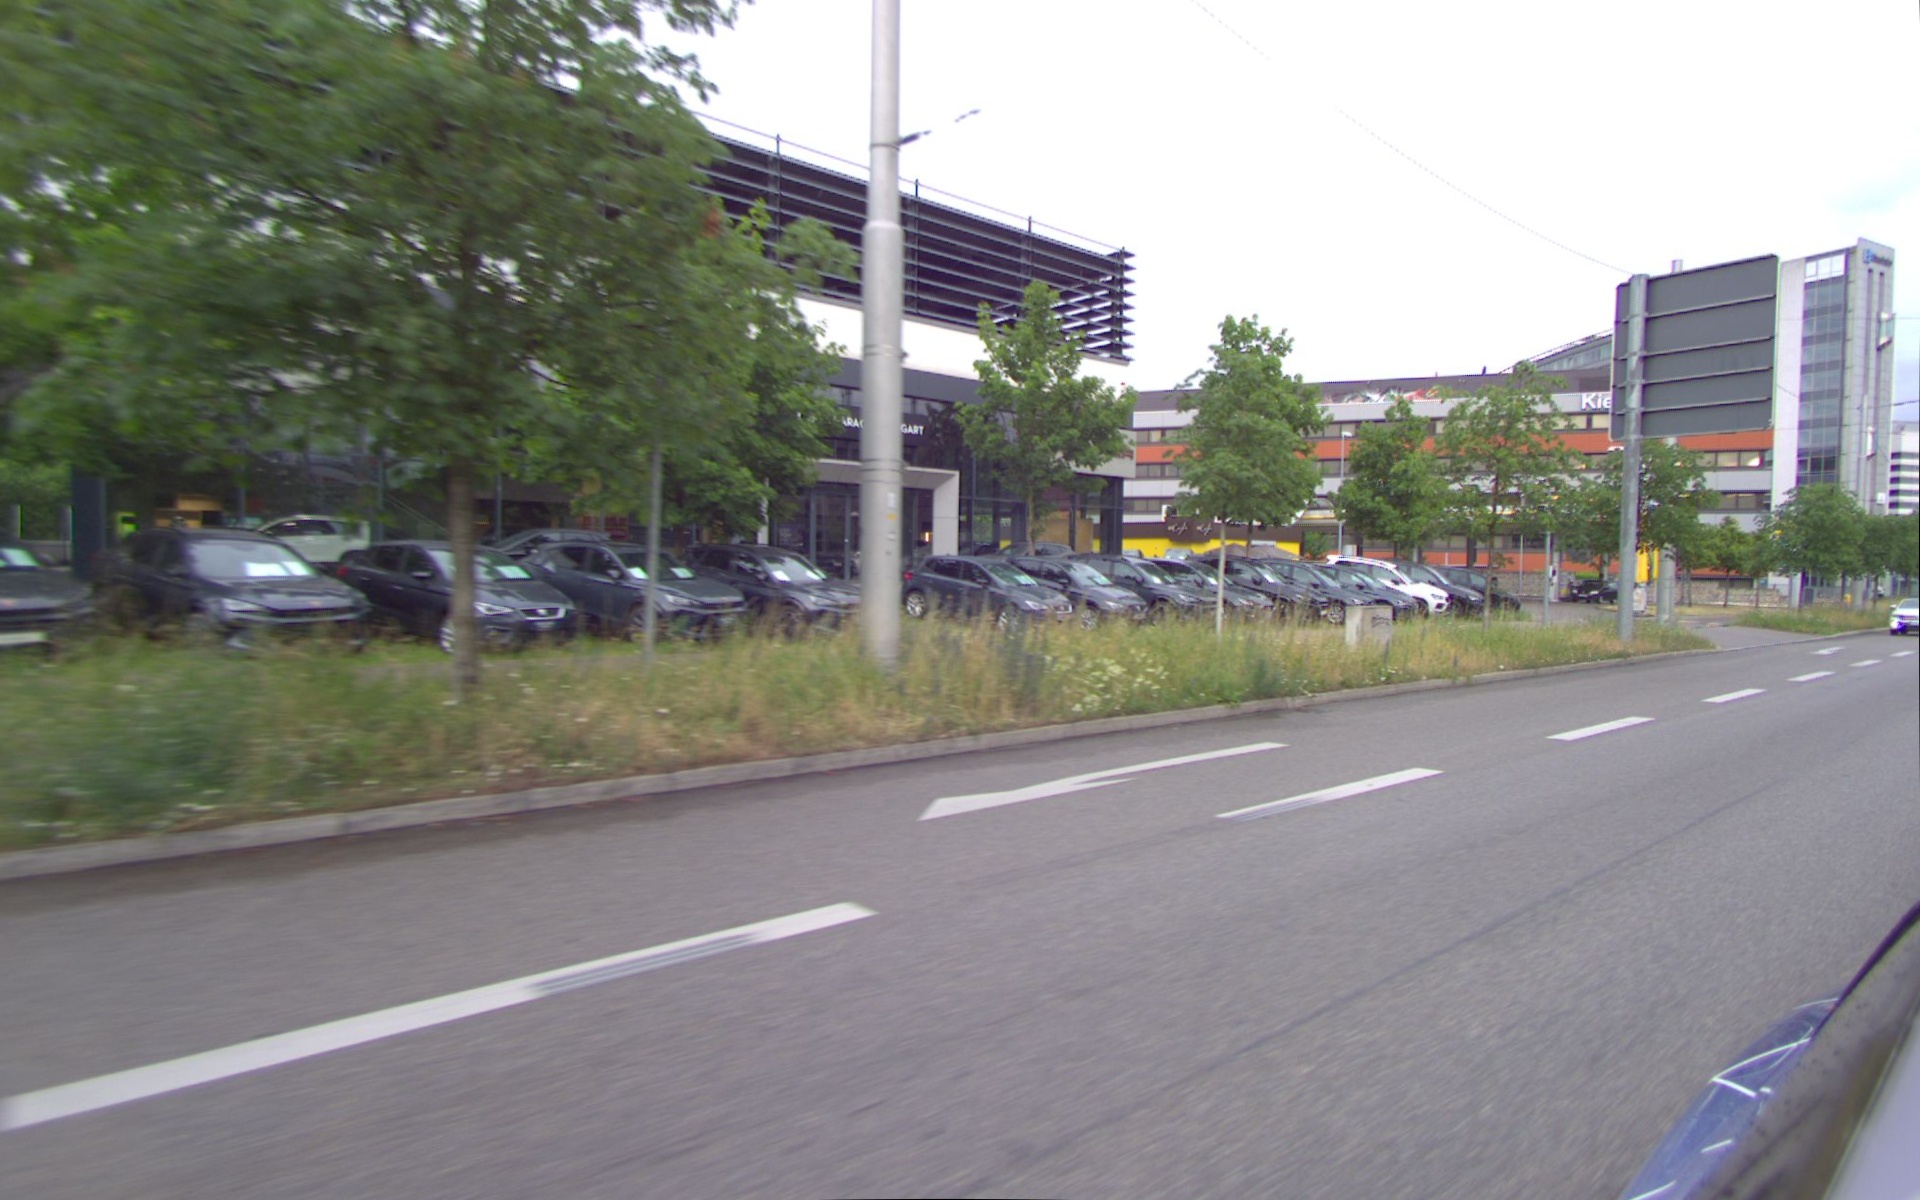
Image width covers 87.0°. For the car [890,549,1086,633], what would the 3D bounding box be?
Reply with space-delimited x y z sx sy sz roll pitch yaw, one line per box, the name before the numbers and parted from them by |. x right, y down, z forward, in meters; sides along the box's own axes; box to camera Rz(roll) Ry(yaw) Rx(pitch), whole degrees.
car | 0.539 -0.260 21.763 4.039 1.520 1.663 4 4 39

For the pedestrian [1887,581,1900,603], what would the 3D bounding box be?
pedestrian | 82.879 -0.746 89.869 0.676 1.925 0.672 -1 -1 29

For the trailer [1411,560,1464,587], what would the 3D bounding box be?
trailer | 40.992 -2.300 86.925 3.956 2.173 1.825 2 2 24

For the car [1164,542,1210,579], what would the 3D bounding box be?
car | 11.020 -1.875 48.991 1.820 1.664 4.292 2 1 17

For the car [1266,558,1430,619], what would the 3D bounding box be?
car | 12.154 -0.417 31.848 4.475 1.657 1.798 4 3 37

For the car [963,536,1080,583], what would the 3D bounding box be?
car | 2.135 -1.364 34.451 3.831 1.491 1.783 0 2 -41

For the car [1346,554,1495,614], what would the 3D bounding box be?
car | 15.936 -0.590 35.087 4.367 1.811 1.854 4 3 37

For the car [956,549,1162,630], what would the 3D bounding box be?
car | 2.219 -0.305 23.459 4.480 1.588 1.796 4 4 39

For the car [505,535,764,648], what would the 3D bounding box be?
car | -5.385 -0.219 16.607 4.120 1.552 1.775 4 3 31

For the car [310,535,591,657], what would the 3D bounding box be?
car | -7.517 -0.144 14.832 4.120 1.476 1.775 4 3 31

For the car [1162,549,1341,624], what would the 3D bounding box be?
car | 8.156 -0.444 28.523 4.477 1.817 1.797 4 4 38

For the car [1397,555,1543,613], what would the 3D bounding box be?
car | 18.864 -0.610 37.570 4.308 1.838 1.880 3 3 0

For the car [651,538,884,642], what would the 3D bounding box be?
car | -3.512 -0.252 18.290 4.026 1.595 1.714 4 3 31

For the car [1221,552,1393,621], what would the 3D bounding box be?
car | 10.307 -0.463 30.197 4.477 1.773 1.797 4 4 38

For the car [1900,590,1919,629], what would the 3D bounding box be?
car | 38.796 0.380 39.986 3.767 1.513 1.878 0 1 -39

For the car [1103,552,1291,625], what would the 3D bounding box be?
car | 6.185 -0.371 26.712 4.484 1.638 1.794 5 4 42

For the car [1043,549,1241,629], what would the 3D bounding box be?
car | 4.405 -0.339 24.958 4.480 1.683 1.796 4 4 39

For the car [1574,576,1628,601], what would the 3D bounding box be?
car | 39.803 -0.721 62.803 3.715 1.436 1.783 0 3 -40

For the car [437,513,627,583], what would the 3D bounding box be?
car | -10.074 -1.190 23.977 3.831 1.491 1.668 0 2 -41

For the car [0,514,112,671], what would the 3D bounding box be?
car | -11.543 -0.190 11.351 4.119 1.588 1.889 4 3 31

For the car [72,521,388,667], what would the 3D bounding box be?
car | -9.474 -0.168 13.076 4.118 1.546 1.812 4 3 30

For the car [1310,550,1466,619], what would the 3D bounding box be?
car | 14.092 -0.569 33.401 4.468 2.015 1.800 4 3 33
